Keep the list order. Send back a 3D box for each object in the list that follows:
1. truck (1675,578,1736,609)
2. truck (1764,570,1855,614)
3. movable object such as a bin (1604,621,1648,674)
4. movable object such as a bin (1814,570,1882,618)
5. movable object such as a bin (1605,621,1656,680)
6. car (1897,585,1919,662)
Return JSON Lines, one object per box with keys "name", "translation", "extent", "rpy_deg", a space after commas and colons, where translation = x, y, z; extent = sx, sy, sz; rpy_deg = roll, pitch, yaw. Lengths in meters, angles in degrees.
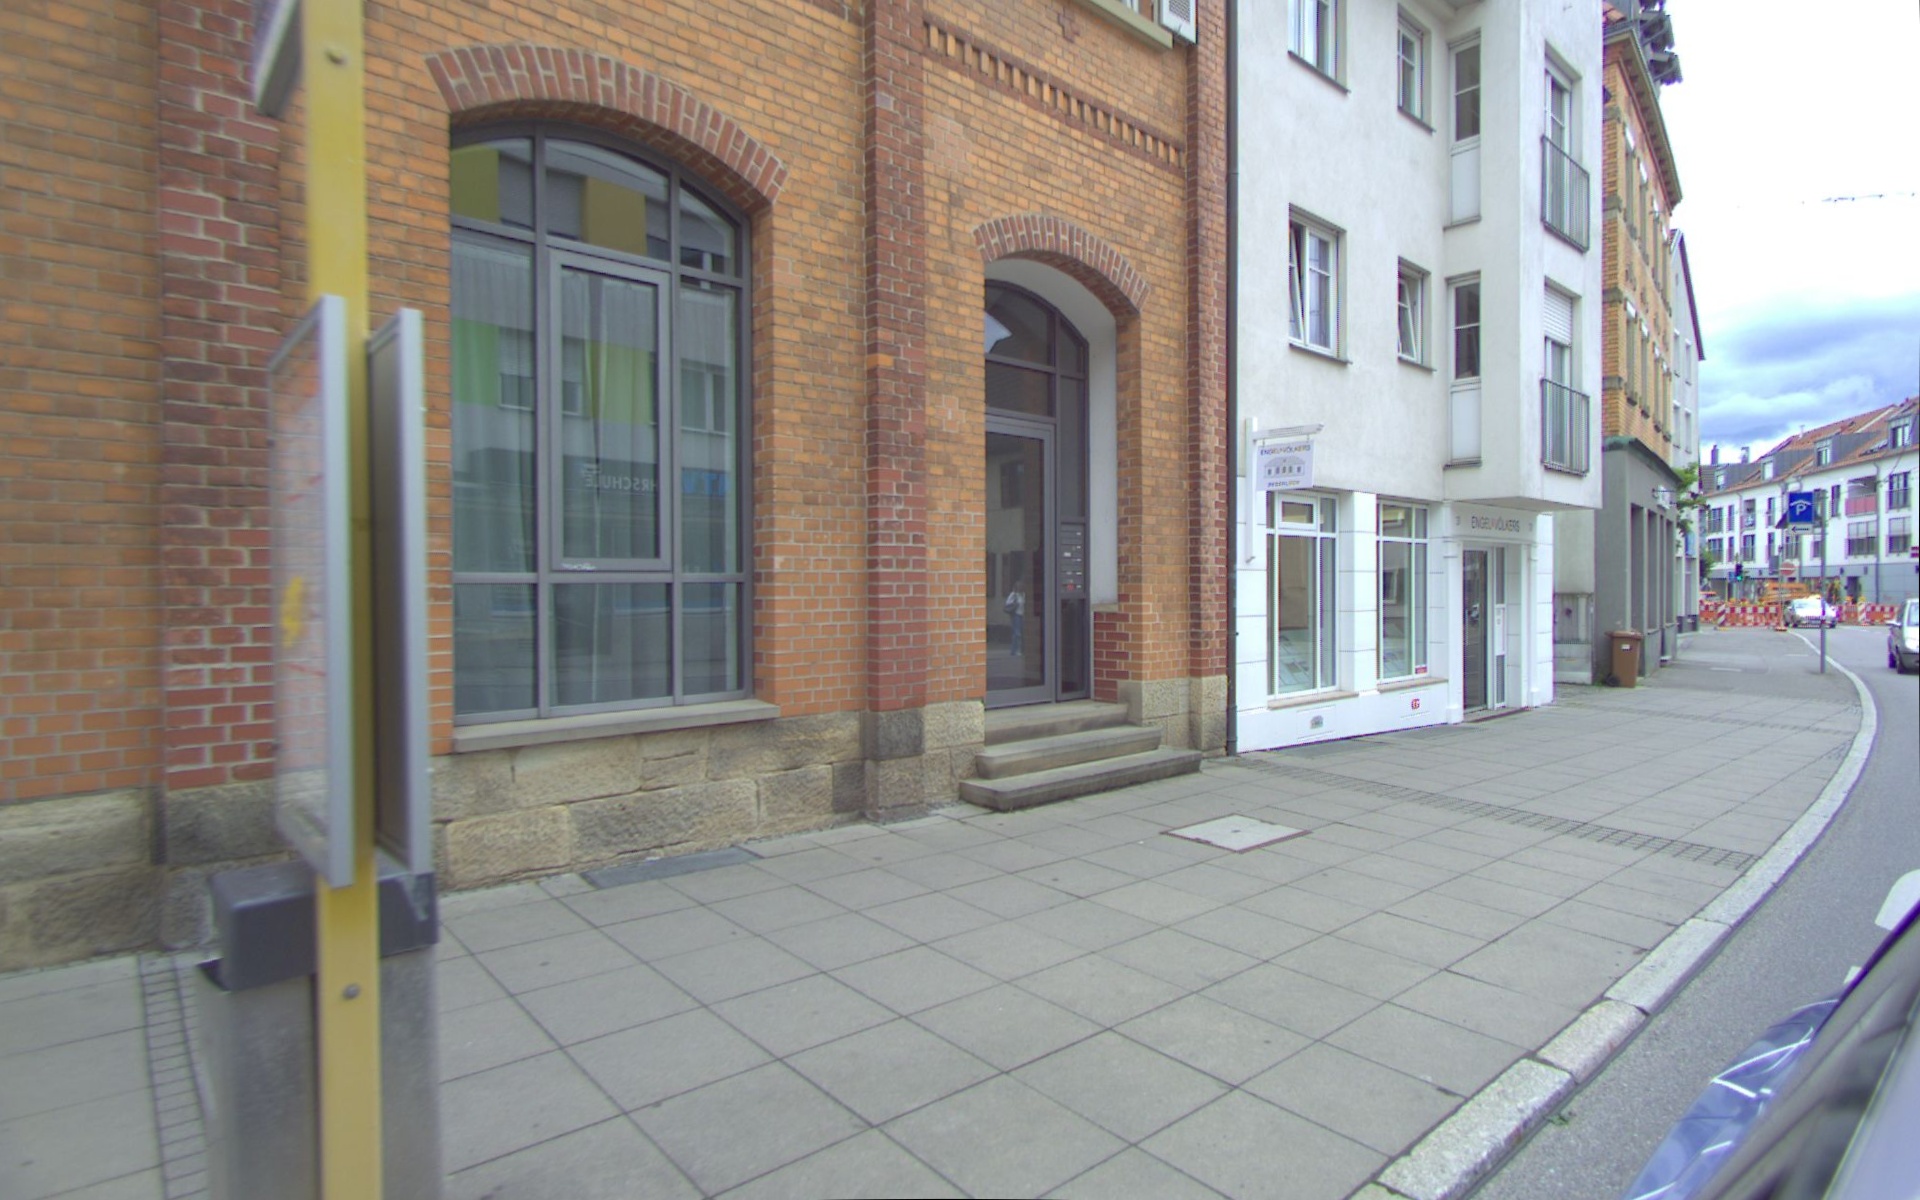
{"name": "truck", "translation": [63.853, -0.511, 86.824], "extent": [2.390, 2.497, 6.268], "rpy_deg": [1, 0, 19]}
{"name": "truck", "translation": [57.301, -0.520, 68.464], "extent": [2.709, 2.759, 6.795], "rpy_deg": [1, 0, 22]}
{"name": "movable object such as a bin", "translation": [12.609, 0.892, 19.149], "extent": [0.579, 0.945, 0.728], "rpy_deg": [1, 0, 43]}
{"name": "movable object such as a bin", "translation": [53.910, -0.439, 61.529], "extent": [1.825, 2.798, 4.469], "rpy_deg": [1, 1, 24]}
{"name": "movable object such as a bin", "translation": [11.251, 0.838, 16.986], "extent": [0.620, 0.932, 0.572], "rpy_deg": [1, 0, 45]}
{"name": "car", "translation": [21.590, 0.532, 21.769], "extent": [1.851, 1.576, 4.289], "rpy_deg": [1, 0, 40]}
